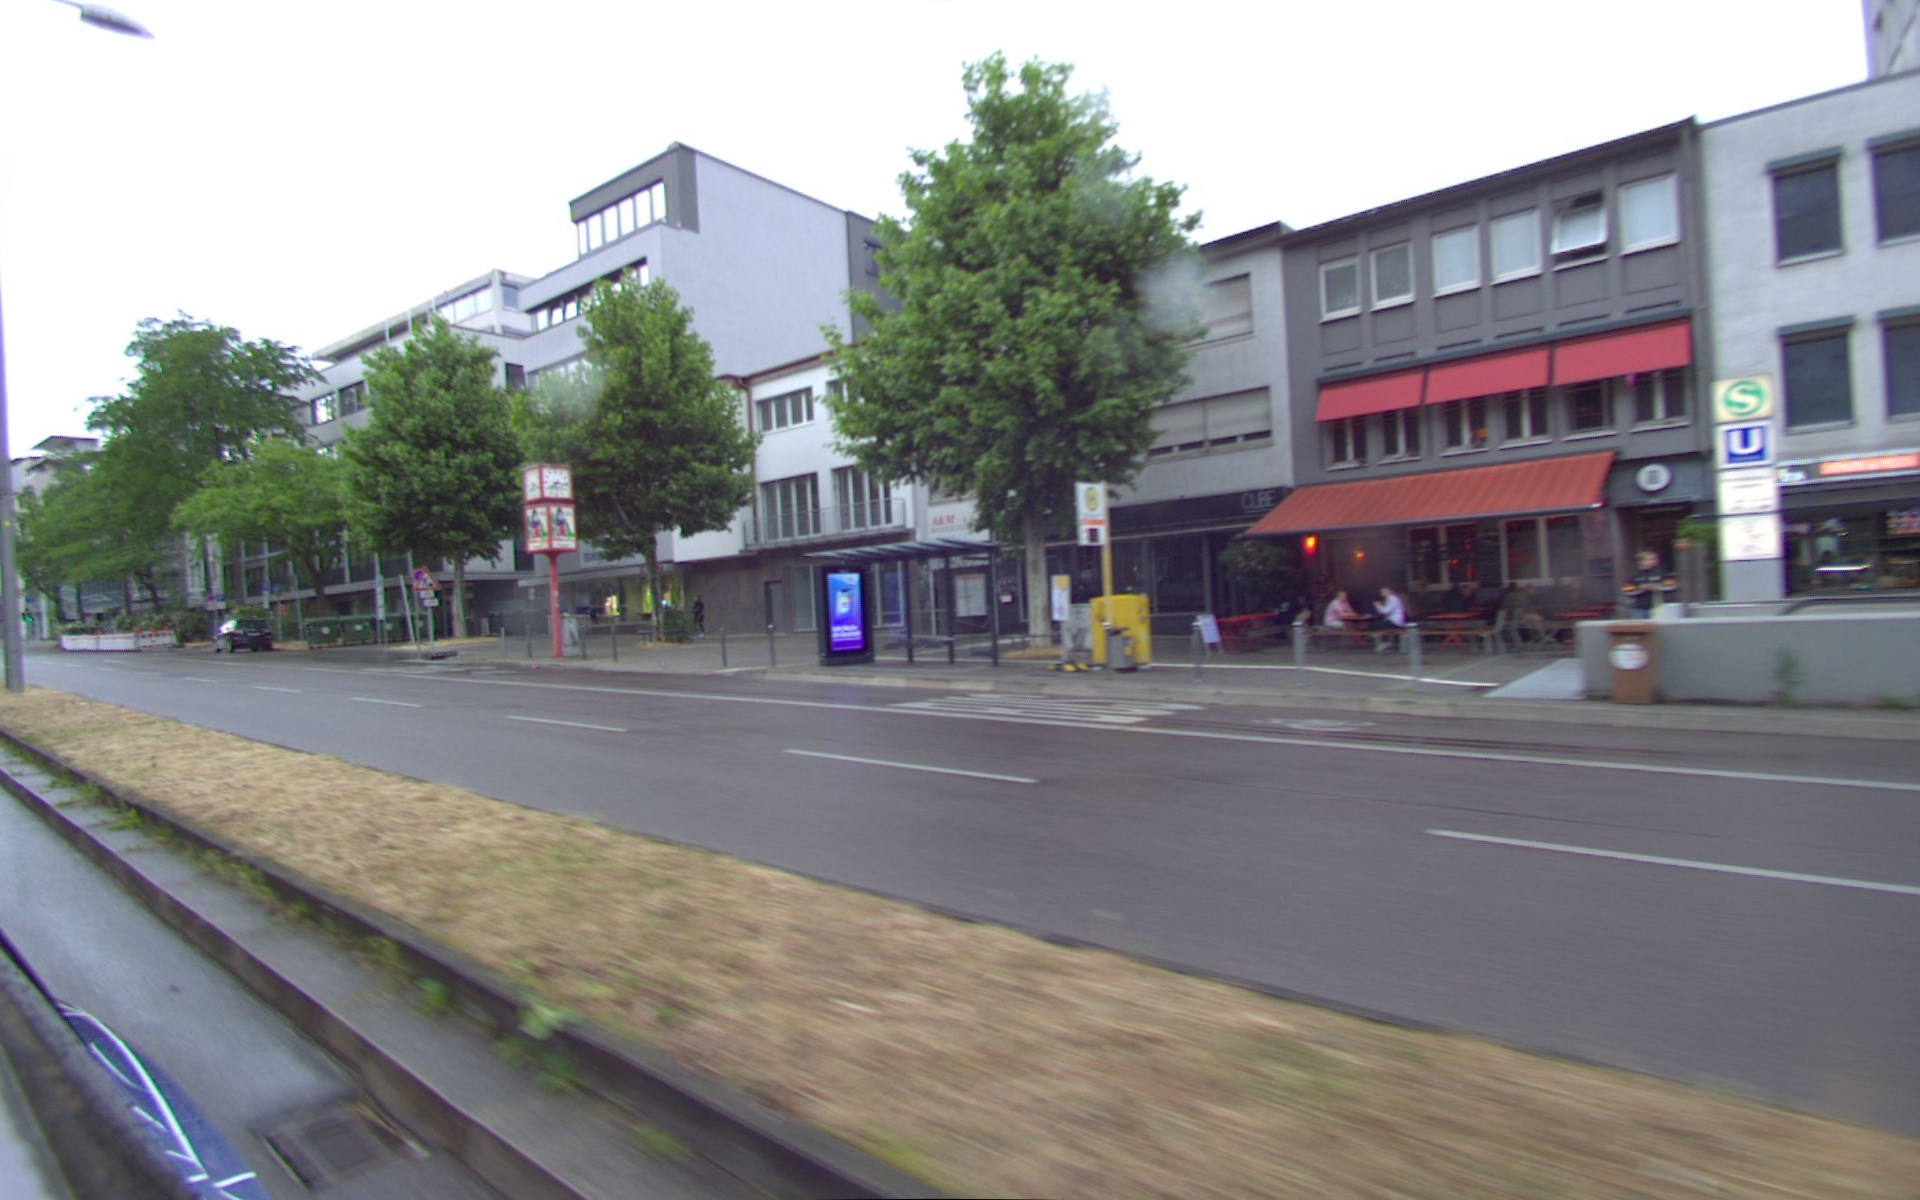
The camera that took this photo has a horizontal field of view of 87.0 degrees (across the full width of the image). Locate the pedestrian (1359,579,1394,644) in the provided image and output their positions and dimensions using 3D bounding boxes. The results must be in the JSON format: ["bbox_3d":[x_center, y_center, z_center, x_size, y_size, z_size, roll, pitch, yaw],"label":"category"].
[{"bbox_3d":[9.555,0.271,23.231,0.546,1.461,0.683,-2,0,37],"label":"pedestrian"}]

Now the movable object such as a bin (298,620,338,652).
[{"bbox_3d":[-30.330,1.691,47.814,1.088,1.437,1.345,-2,0,41],"label":"movable object such as a bin"}]

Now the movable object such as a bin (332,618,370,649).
[{"bbox_3d":[-29.420,1.612,48.906,1.088,1.437,1.265,-2,0,41],"label":"movable object such as a bin"}]

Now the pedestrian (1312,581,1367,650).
[{"bbox_3d":[8.255,0.335,22.005,0.912,1.461,0.683,-2,0,37],"label":"pedestrian"}]

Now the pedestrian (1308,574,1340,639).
[{"bbox_3d":[9.041,0.172,25.147,0.603,1.582,0.591,-2,-1,31],"label":"pedestrian"}]

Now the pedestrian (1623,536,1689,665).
[{"bbox_3d":[10.566,0.014,15.361,0.757,1.899,0.683,-2,0,37],"label":"pedestrian"}]

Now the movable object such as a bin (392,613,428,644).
[{"bbox_3d":[-27.695,1.417,51.003,1.088,1.499,1.265,-2,0,41],"label":"movable object such as a bin"}]

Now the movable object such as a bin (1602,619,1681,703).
[{"bbox_3d":[7.630,0.670,11.357,0.680,0.904,0.527,-2,-2,32],"label":"movable object such as a bin"}]

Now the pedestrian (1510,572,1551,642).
[{"bbox_3d":[12.322,0.151,21.861,0.690,1.461,0.627,-2,0,34],"label":"pedestrian"}]

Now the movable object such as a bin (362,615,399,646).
[{"bbox_3d":[-28.584,1.512,49.950,1.088,1.437,1.265,-2,0,41],"label":"movable object such as a bin"}]

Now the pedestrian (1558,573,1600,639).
[{"bbox_3d":[13.032,0.129,21.300,0.690,1.366,0.627,-2,0,34],"label":"pedestrian"}]

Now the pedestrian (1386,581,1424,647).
[{"bbox_3d":[10.025,0.310,22.789,0.582,1.461,0.683,-2,0,38],"label":"pedestrian"}]

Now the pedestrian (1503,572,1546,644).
[{"bbox_3d":[11.796,0.159,21.139,0.690,1.461,0.627,-2,0,34],"label":"pedestrian"}]

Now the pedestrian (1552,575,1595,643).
[{"bbox_3d":[12.542,0.189,20.688,0.690,1.354,0.627,-2,0,34],"label":"pedestrian"}]

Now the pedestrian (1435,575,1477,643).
[{"bbox_3d":[10.862,0.191,22.166,0.690,1.461,0.720,-2,0,34],"label":"pedestrian"}]

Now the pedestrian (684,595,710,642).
[{"bbox_3d":[-10.057,0.712,38.649,0.653,1.776,0.688,-2,-1,43],"label":"pedestrian"}]

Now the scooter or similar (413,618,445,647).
[{"bbox_3d":[-23.435,1.431,44.653,1.323,1.130,0.767,-6,0,42],"label":"scooter or similar"}]

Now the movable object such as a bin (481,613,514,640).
[{"bbox_3d":[-25.331,1.450,55.408,1.278,1.446,1.077,-2,0,32],"label":"movable object such as a bin"}]

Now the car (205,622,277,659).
[{"bbox_3d":[-34.355,1.894,48.306,4.019,1.648,1.761,-1,0,39],"label":"car"}]

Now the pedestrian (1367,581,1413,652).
[{"bbox_3d":[9.086,0.340,21.388,0.706,1.461,0.683,-2,0,37],"label":"pedestrian"}]

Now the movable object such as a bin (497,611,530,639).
[{"bbox_3d":[-24.047,1.352,54.553,1.278,1.446,1.077,-2,0,32],"label":"movable object such as a bin"}]

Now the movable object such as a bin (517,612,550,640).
[{"bbox_3d":[-22.742,1.398,53.960,1.278,1.446,1.077,-2,0,32],"label":"movable object such as a bin"}]
